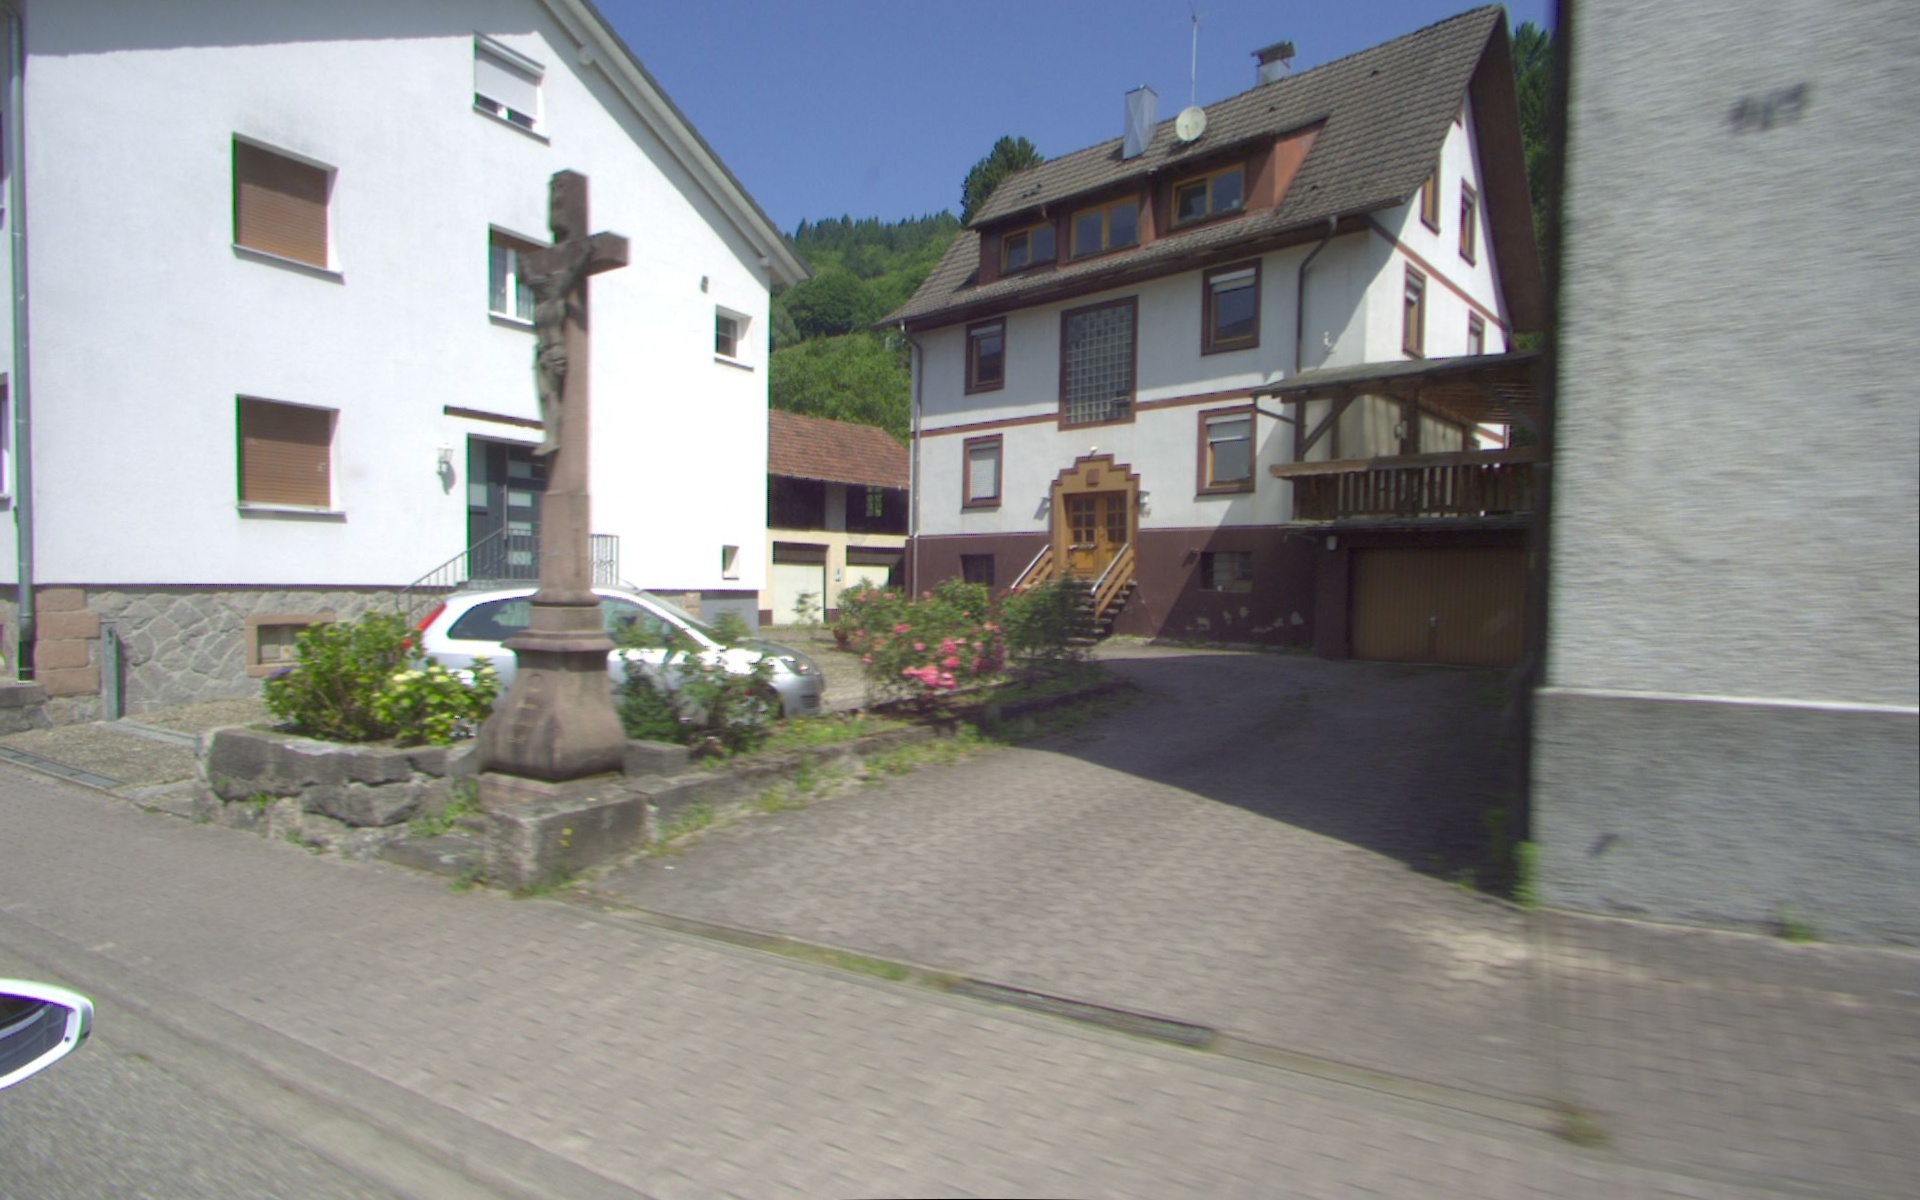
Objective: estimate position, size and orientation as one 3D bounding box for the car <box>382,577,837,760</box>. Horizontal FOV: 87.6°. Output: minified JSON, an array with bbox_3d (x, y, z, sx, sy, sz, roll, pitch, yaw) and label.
[{"bbox_3d":[-3.122,0.548,9.486,3.707,1.447,1.607,-1,1,-13],"label":"car"}]
